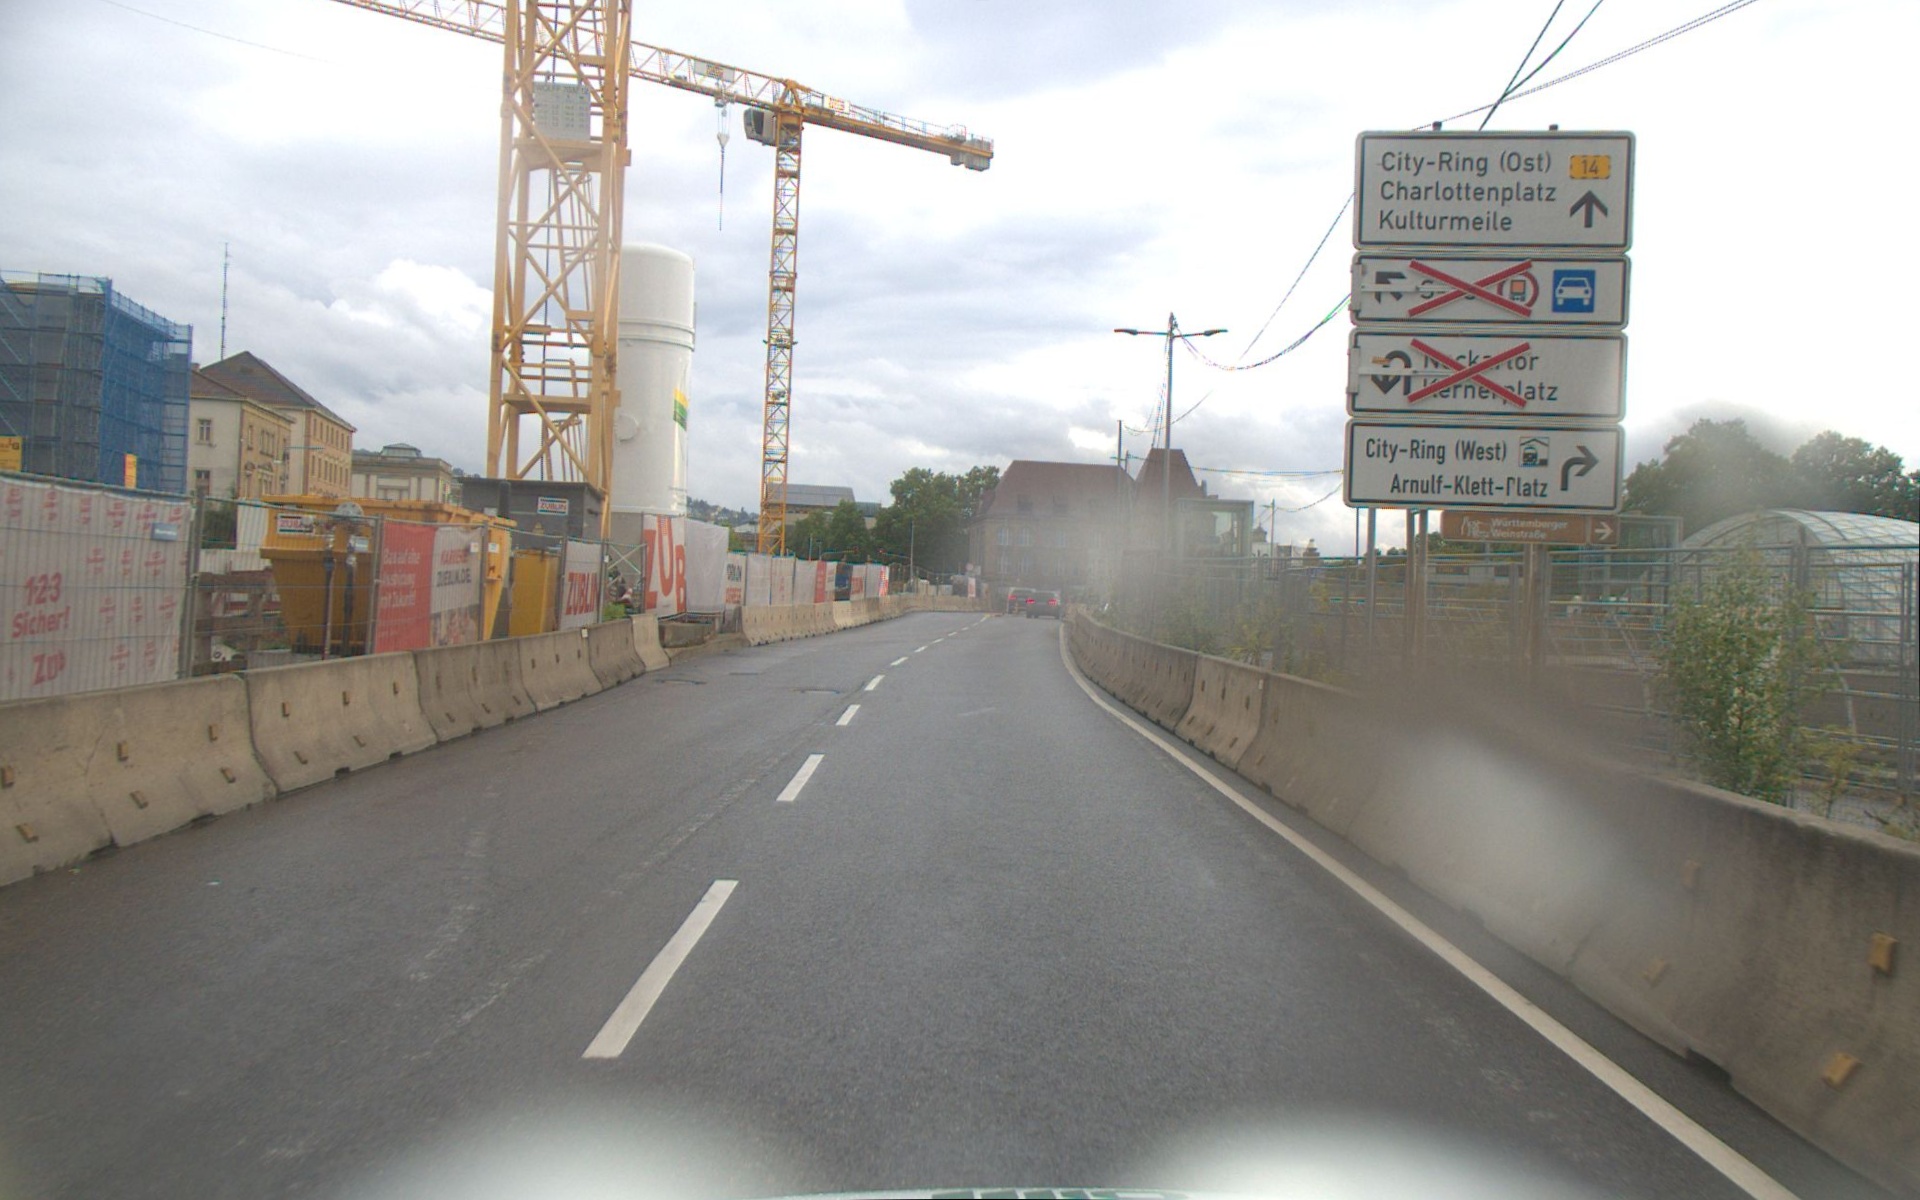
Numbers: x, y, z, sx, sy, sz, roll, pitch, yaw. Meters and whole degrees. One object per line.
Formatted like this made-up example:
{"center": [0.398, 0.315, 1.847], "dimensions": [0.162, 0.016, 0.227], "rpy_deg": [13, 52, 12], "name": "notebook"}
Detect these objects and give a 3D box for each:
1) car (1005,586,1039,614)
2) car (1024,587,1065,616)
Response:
{"center": [3.976, -0.015, 105.695], "dimensions": [1.823, 1.689, 4.659], "rpy_deg": [2, 0, 5], "name": "car"}
{"center": [4.498, 0.092, 87.681], "dimensions": [1.823, 1.458, 4.659], "rpy_deg": [1, -1, 7], "name": "car"}
